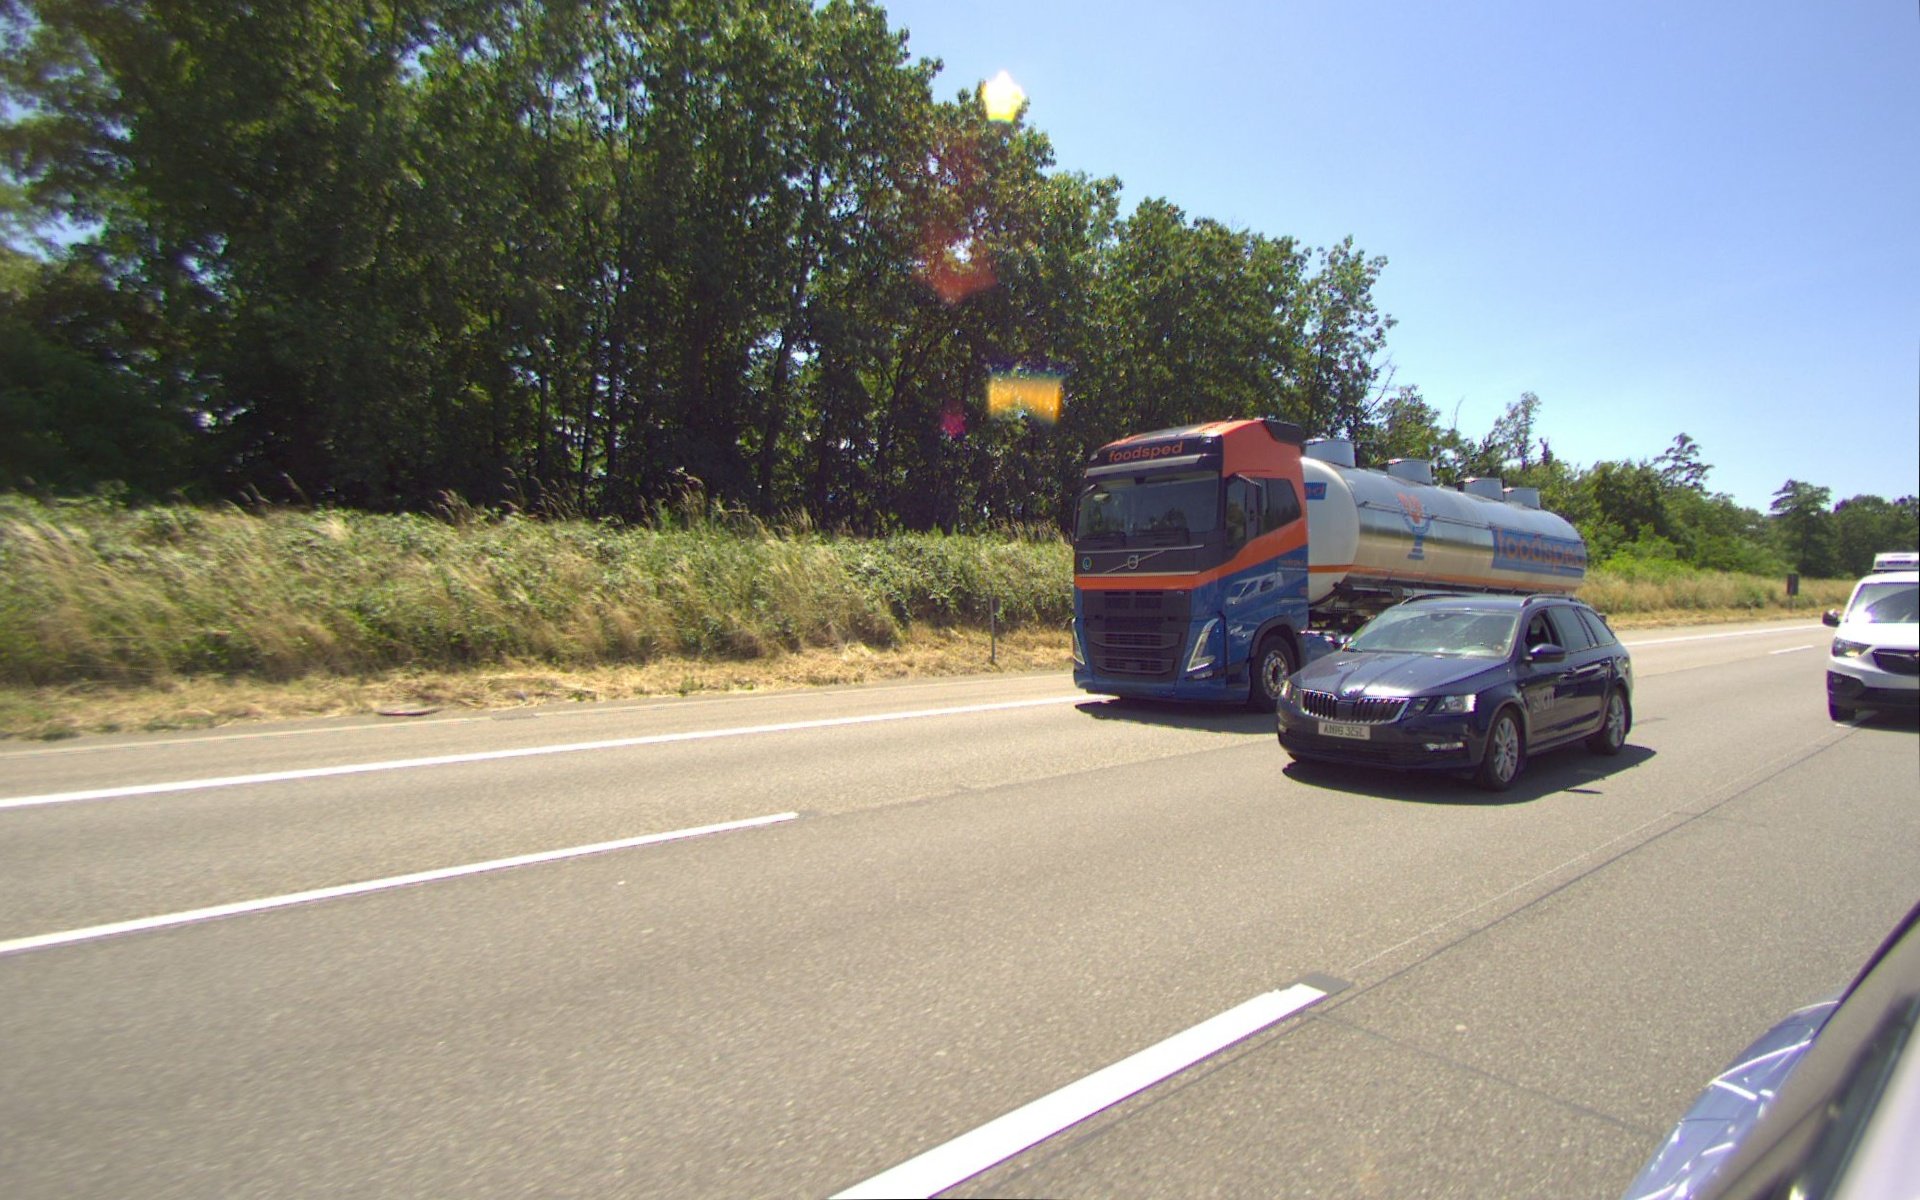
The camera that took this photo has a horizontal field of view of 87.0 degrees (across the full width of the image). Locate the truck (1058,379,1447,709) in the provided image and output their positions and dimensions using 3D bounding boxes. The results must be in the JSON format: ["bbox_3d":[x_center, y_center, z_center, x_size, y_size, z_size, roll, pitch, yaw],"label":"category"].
[{"bbox_3d":[4.389,-0.671,14.539,5.992,3.781,2.533,0,0,-41],"label":"truck"}]

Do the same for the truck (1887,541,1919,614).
[{"bbox_3d":[55.086,-1.250,57.729,6.066,4.053,2.601,0,0,-41],"label":"truck"}]

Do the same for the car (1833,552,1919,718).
[{"bbox_3d":[12.530,0.370,12.705,4.857,1.840,1.868,0,0,-43],"label":"car"}]

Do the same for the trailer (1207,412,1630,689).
[{"bbox_3d":[8.955,-0.714,18.504,11.347,3.781,2.533,0,0,-41],"label":"trailer"}]

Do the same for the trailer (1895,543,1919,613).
[{"bbox_3d":[60.509,-1.301,62.493,13.835,4.053,2.601,0,0,-41],"label":"trailer"}]

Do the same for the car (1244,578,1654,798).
[{"bbox_3d":[4.481,0.583,8.974,4.198,1.502,1.804,0,0,-42],"label":"car"}]
